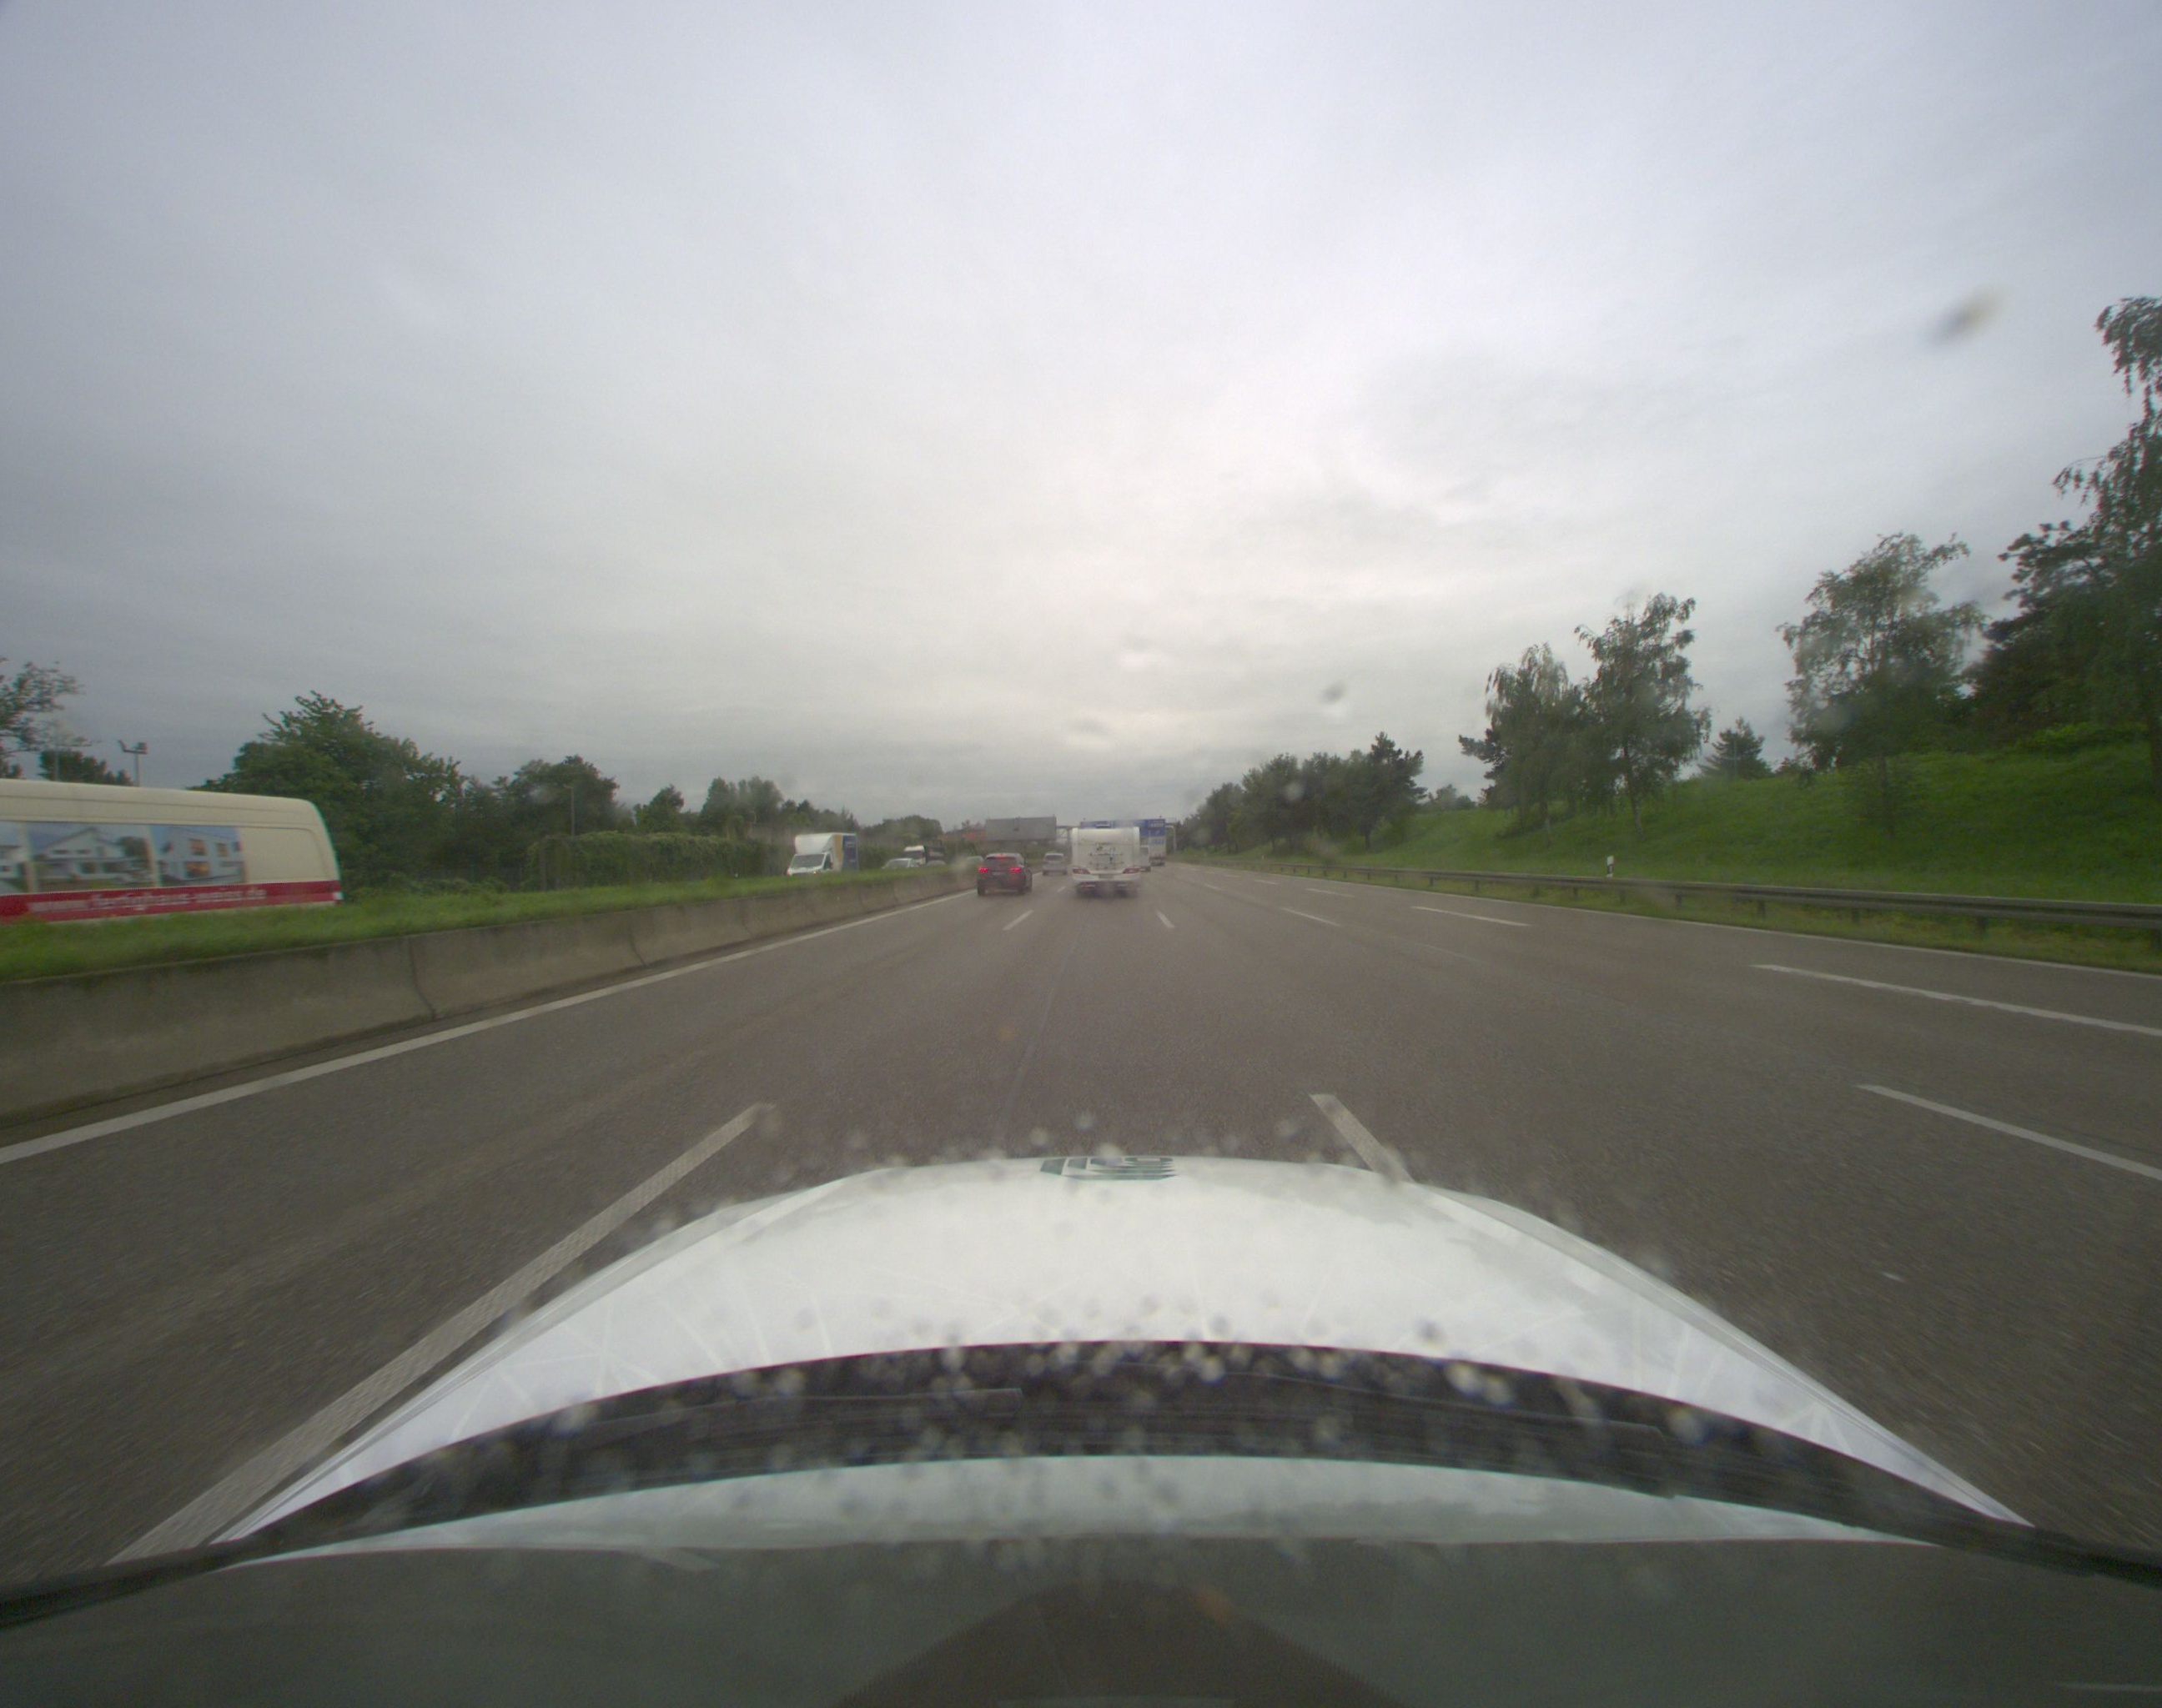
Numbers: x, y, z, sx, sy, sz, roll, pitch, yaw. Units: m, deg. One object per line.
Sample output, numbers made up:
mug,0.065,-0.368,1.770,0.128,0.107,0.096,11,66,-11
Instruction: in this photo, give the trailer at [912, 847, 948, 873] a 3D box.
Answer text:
trailer,-19.982,0.838,108.274,2.297,3.290,10.569,0,-1,3

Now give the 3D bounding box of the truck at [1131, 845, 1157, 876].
truck,5.776,0.593,75.321,2.046,2.770,5.550,0,-1,1

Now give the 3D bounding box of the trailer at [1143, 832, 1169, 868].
trailer,10.544,-0.506,115.326,3.087,4.922,11.797,0,-1,3

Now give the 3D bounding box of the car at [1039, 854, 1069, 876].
car,-2.117,0.842,64.690,2.120,1.706,4.113,0,0,1

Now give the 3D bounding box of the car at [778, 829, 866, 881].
car,-14.457,0.091,46.066,2.313,2.734,7.319,0,-1,2

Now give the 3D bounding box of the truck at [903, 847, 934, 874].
truck,-20.311,0.760,102.152,2.307,3.273,6.585,0,-1,2

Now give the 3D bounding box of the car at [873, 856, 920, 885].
car,-11.261,0.980,49.998,1.815,1.662,4.150,0,-1,1

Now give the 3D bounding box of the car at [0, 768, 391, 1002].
car,-12.000,0.326,9.165,2.051,2.385,7.325,0,-1,1

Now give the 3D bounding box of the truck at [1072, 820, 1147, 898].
truck,1.083,0.195,31.443,2.651,2.742,5.078,0,-1,1

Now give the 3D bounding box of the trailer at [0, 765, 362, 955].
trailer,-18.783,0.129,15.604,2.766,3.077,7.877,0,-1,2

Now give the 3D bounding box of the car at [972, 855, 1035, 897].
car,-3.090,0.852,33.517,1.986,1.600,5.124,0,-1,1
